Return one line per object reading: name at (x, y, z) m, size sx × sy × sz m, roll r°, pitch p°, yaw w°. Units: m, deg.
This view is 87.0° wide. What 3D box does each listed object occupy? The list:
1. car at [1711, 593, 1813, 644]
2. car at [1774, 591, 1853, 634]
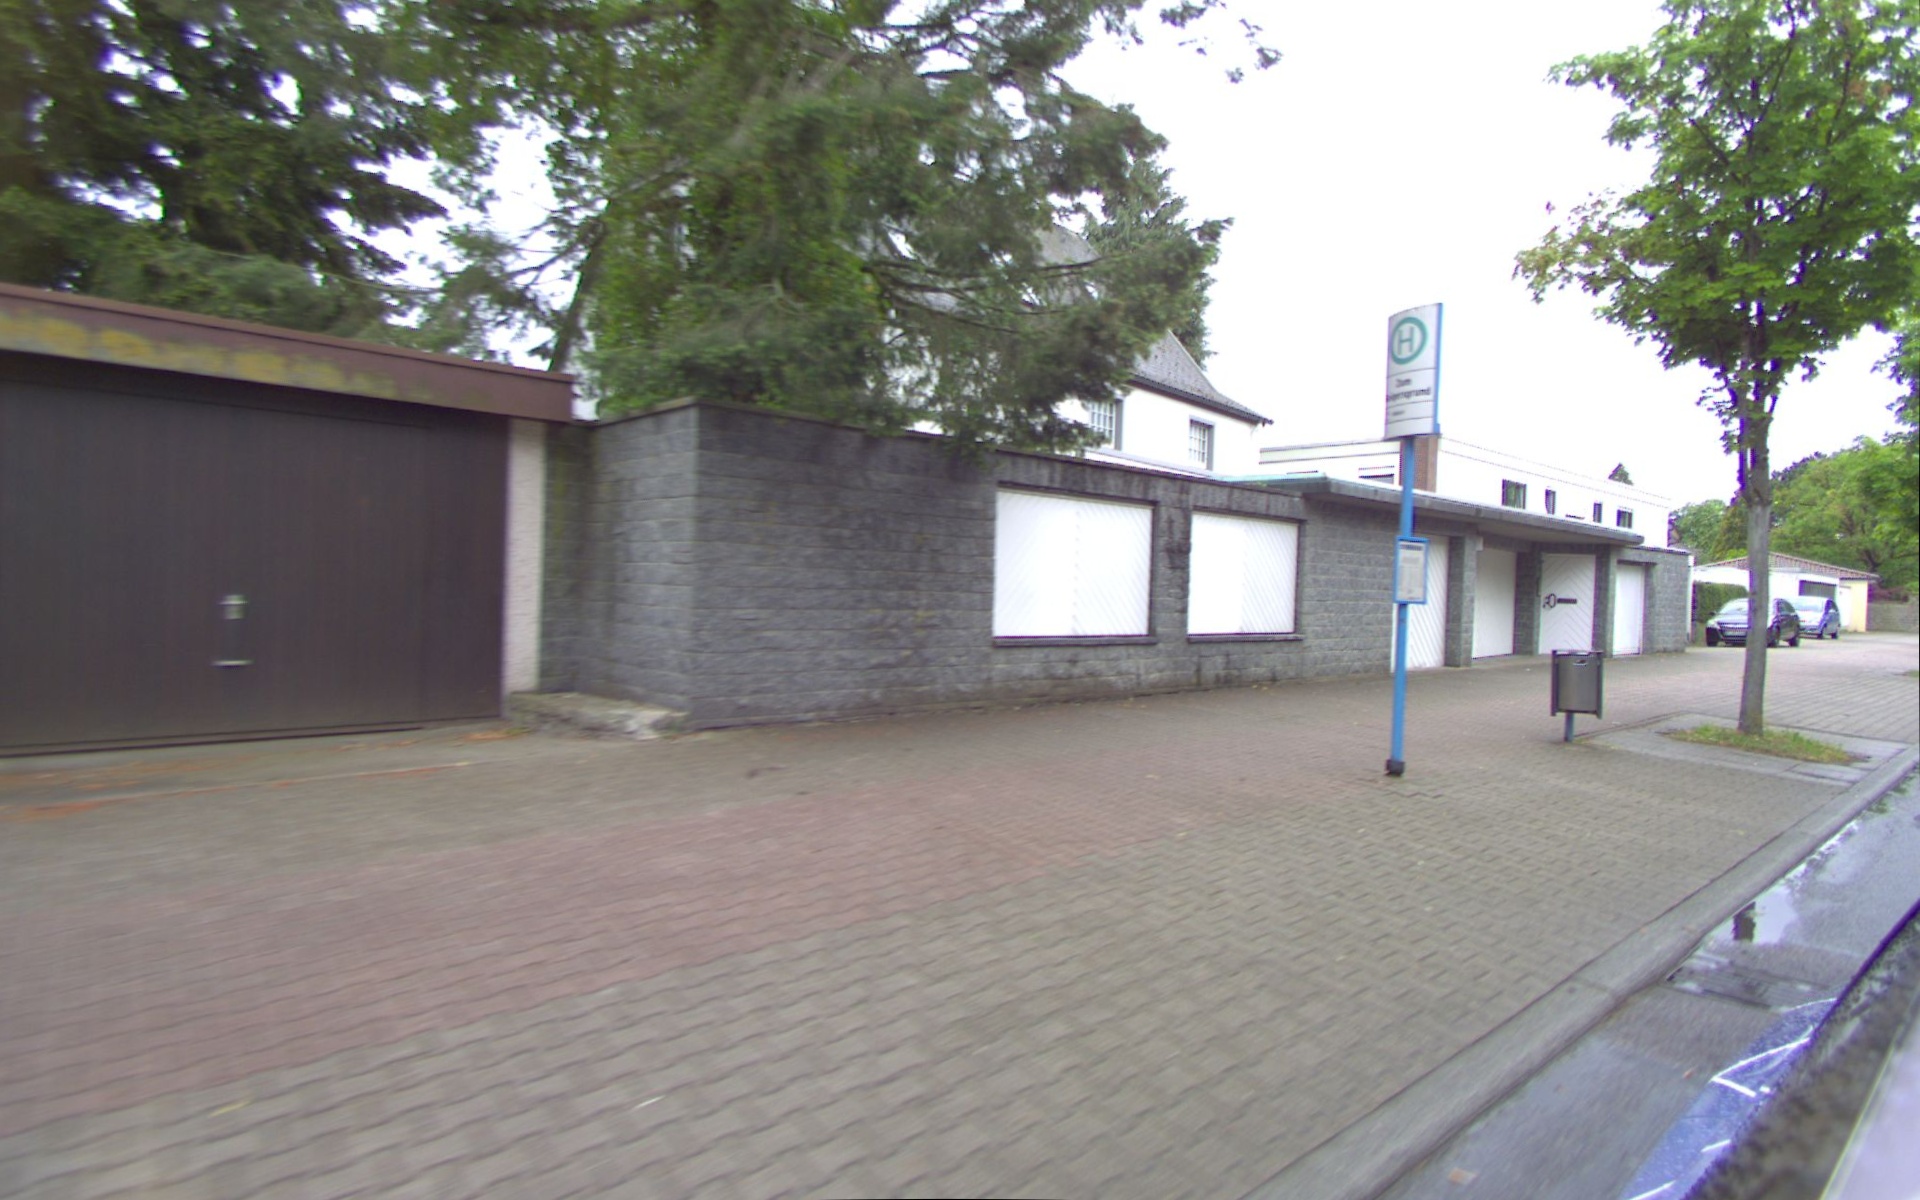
car at (24.218, 0.538, 30.507) m, size 3.929 × 1.440 × 1.665 m, roll 0°, pitch 0°, yaw -40°
car at (33.150, 0.453, 39.294) m, size 3.929 × 1.581 × 1.699 m, roll 0°, pitch 0°, yaw -40°
